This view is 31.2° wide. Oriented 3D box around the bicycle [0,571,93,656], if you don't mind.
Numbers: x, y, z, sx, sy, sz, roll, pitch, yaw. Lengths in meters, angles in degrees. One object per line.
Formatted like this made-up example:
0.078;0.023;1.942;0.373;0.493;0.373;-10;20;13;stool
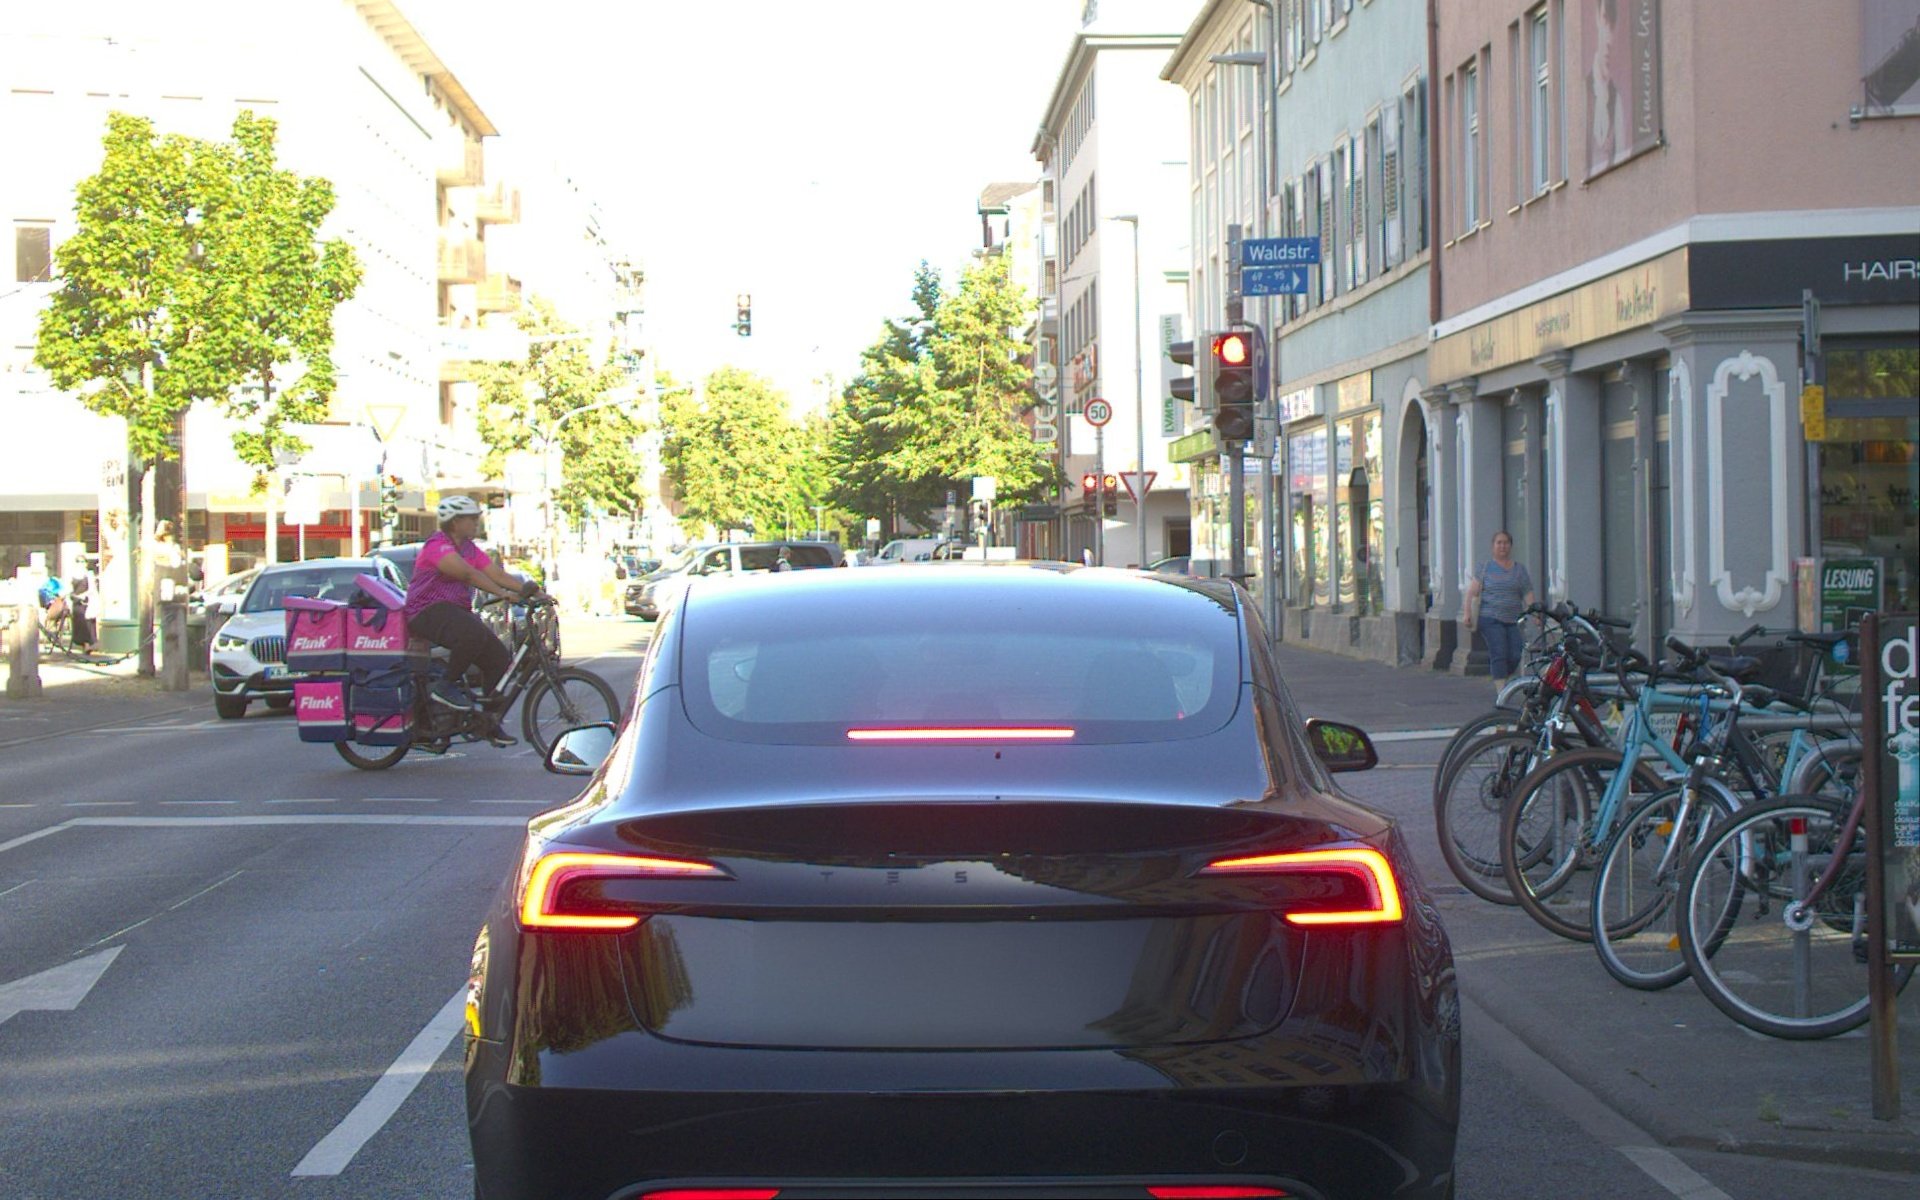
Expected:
-14.532;0.192;52.143;2.542;1.247;0.943;1;0;-3;bicycle

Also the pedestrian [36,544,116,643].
-14.545;-0.113;56.544;1.092;1.606;1.267;1;0;-22;pedestrian

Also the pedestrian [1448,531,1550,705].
4.864;0.160;31.064;0.789;1.544;0.724;1;0;0;pedestrian

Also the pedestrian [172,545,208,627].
-14.412;-0.260;64.332;0.624;1.518;0.579;1;0;-13;pedestrian

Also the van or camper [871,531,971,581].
-1.893;-2.136;167.550;4.850;2.430;1.851;0;1;-1;van or camper

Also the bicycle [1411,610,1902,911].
2.730;0.620;13.604;1.813;1.148;0.653;0;1;1;bicycle

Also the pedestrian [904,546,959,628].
-0.560;-0.258;67.766;0.806;1.604;0.709;0;1;-37;pedestrian

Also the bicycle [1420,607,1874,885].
2.922;0.612;14.738;1.813;1.148;0.653;0;1;1;bicycle

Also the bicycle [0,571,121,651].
-14.693;0.165;54.567;2.542;1.247;0.943;1;0;-3;bicycle

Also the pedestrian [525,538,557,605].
-11.819;-0.810;96.926;0.732;1.861;0.791;1;0;-17;pedestrian

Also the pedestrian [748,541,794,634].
-3.574;-0.237;64.958;0.658;1.754;0.654;1;0;-24;pedestrian

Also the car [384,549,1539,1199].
-0.025;0.629;7.775;1.850;1.442;4.452;1;1;-1;car

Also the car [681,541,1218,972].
-0.060;0.525;14.200;1.850;1.476;4.452;1;1;-1;car

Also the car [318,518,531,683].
-6.572;-0.034;42.665;1.945;1.940;4.820;0;1;-1;car

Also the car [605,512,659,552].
-17.117;-3.537;179.644;2.275;2.007;4.717;1;1;1;car

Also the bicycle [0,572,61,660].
-14.487;0.219;49.868;2.662;1.255;0.943;1;0;-3;bicycle

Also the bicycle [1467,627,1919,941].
2.799;0.657;12.530;1.813;1.098;0.653;0;1;1;bicycle

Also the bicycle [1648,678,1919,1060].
3.025;0.759;10.052;1.882;1.040;0.653;-1;1;1;bicycle

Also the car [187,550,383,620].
-15.173;-0.353;77.269;4.119;1.525;1.552;0;1;-21;car

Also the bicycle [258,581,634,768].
-3.503;0.503;23.502;2.390;1.147;0.712;-2;1;6;bicycle

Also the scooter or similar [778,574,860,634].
-2.682;0.073;65.446;1.333;1.131;0.810;1;0;-24;scooter or similar

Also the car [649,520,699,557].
-15.641;-3.357;188.284;2.275;2.007;4.717;1;1;1;car

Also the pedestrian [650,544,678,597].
-10.411;-1.031;120.754;0.694;1.861;0.910;1;0;-24;pedestrian

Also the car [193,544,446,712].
-6.687;0.256;36.342;1.825;1.559;4.301;-4;1;-1;car

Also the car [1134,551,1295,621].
6.682;-0.383;90.202;3.995;1.782;2.041;0;1;11;car

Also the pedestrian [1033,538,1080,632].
1.928;-0.300;68.685;0.708;1.870;0.808;1;0;20;pedestrian

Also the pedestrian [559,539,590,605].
-10.895;-0.800;97.160;0.732;1.861;0.791;1;0;-17;pedestrian

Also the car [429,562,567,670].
-6.653;0.206;49.799;1.461;1.425;3.606;-4;1;-1;car

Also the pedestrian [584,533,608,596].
-10.992;-1.074;103.881;0.695;1.861;0.659;1;0;-5;pedestrian

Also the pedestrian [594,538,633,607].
-9.532;-0.754;94.537;0.734;1.861;0.789;1;0;28;pedestrian

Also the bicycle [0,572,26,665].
-14.486;0.237;47.549;2.875;1.266;0.943;1;0;-3;bicycle

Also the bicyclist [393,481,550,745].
-3.328;0.090;23.467;0.864;1.749;0.681;-2;-1;8;bicyclist

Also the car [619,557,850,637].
-5.386;-0.103;82.104;5.195;1.860;1.884;0;1;-22;car

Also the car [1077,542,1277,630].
4.711;-0.325;74.677;3.992;1.861;1.698;0;1;-21;car

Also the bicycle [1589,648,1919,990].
2.999;0.693;11.124;1.813;1.056;0.653;0;1;1;bicycle
